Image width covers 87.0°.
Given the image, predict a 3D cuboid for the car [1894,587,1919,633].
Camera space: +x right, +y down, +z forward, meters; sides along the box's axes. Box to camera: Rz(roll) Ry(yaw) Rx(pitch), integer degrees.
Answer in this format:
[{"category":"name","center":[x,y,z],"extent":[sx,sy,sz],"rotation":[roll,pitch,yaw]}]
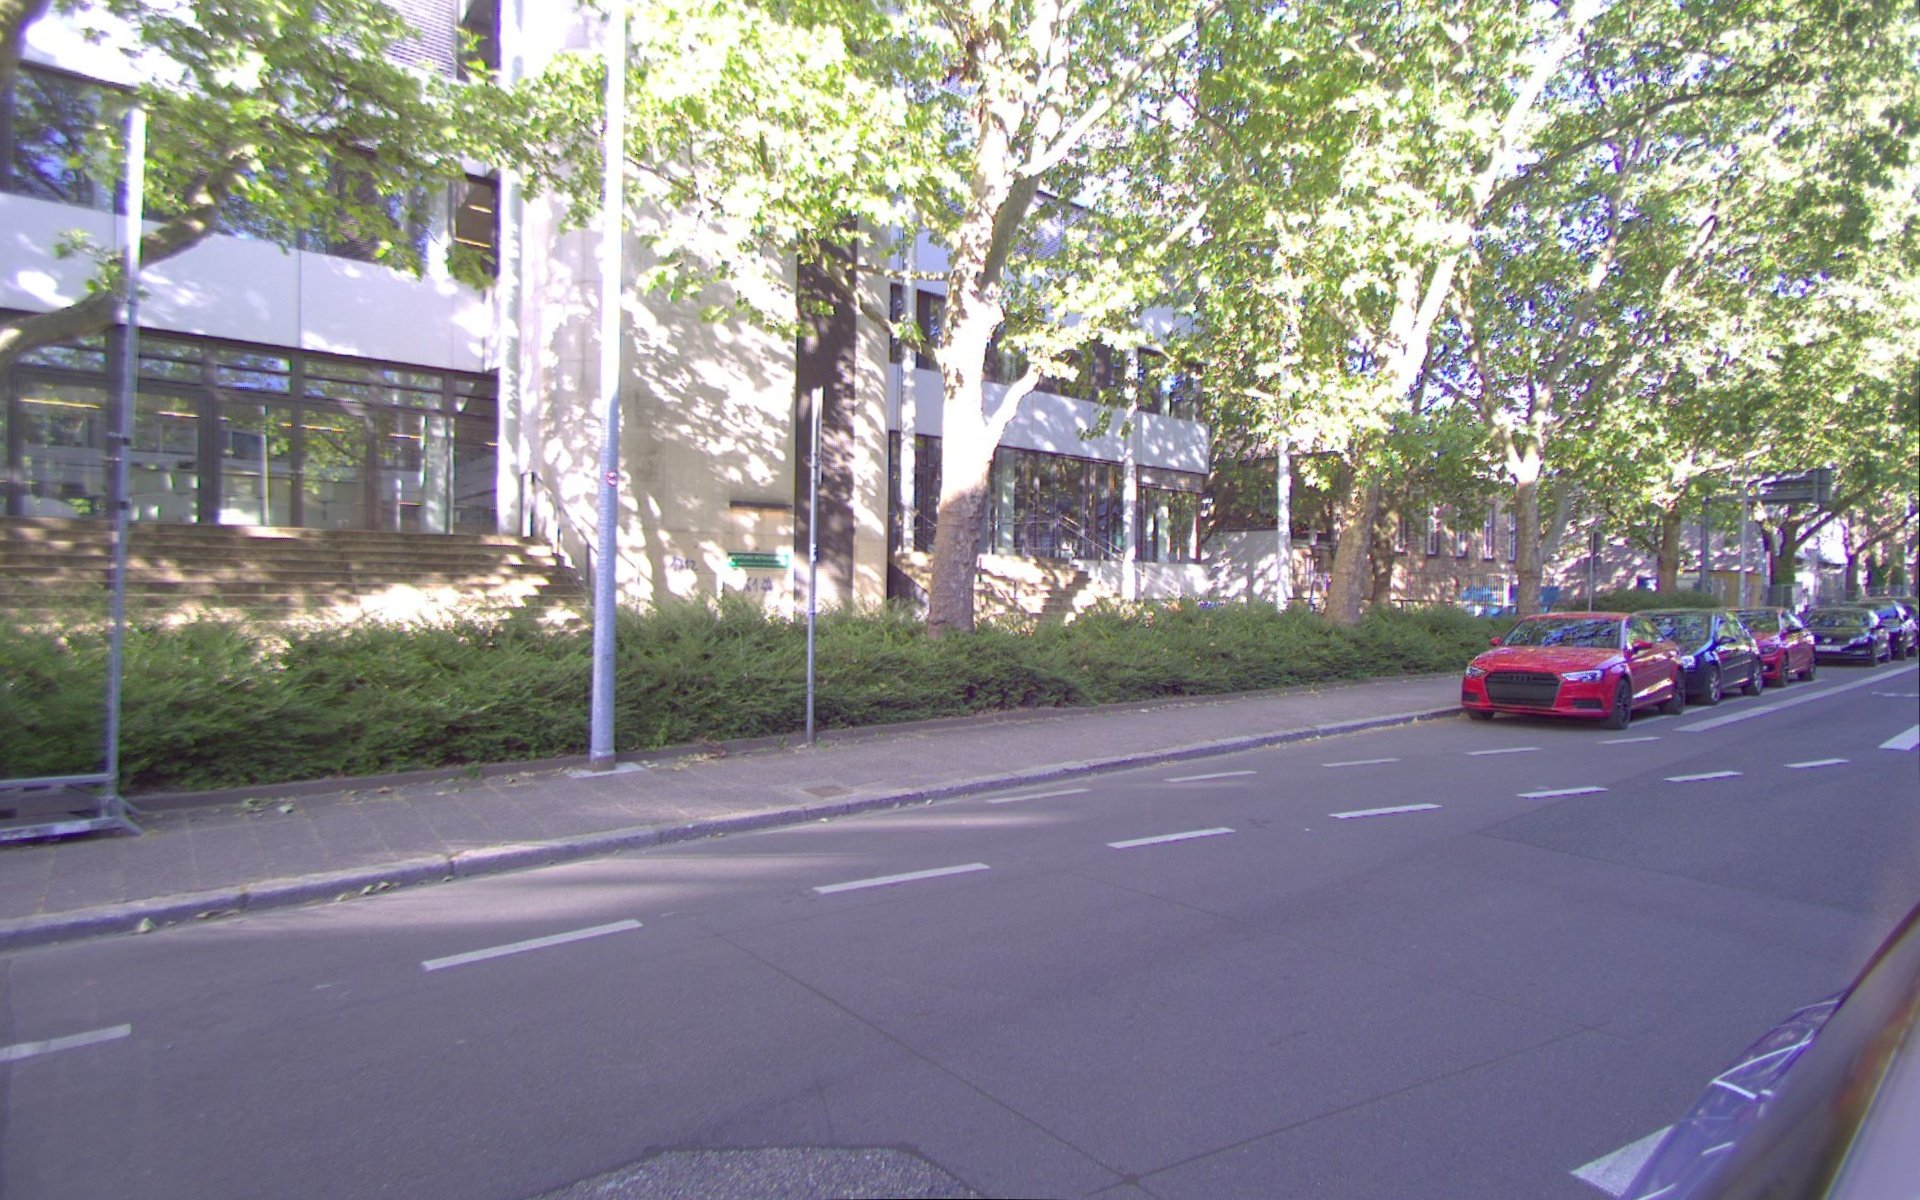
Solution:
[{"category":"car","center":[35.734,0.355,37.074],"extent":[4.004,1.638,1.797],"rotation":[0,1,-41]}]

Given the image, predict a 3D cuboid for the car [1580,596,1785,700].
[{"category":"car","center":[11.924,0.692,16.634],"extent":[3.929,1.475,1.812],"rotation":[0,1,-40]}]

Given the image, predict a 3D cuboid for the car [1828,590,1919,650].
[{"category":"car","center":[26.641,0.518,29.192],"extent":[4.158,1.601,1.847],"rotation":[0,1,-41]}]

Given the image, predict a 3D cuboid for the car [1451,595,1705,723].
[{"category":"car","center":[8.313,0.669,13.474],"extent":[4.101,1.443,1.773],"rotation":[0,-1,-42]}]

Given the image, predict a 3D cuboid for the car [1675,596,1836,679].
[{"category":"car","center":[15.755,0.662,19.977],"extent":[3.930,1.456,1.789],"rotation":[0,1,-41]}]

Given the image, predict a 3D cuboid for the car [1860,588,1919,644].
[{"category":"car","center":[31.076,0.475,33.052],"extent":[4.188,1.747,1.997],"rotation":[-1,0,-41]}]

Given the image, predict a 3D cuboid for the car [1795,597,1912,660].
[{"category":"car","center":[22.977,0.675,25.994],"extent":[3.930,1.456,1.744],"rotation":[0,1,-41]}]
